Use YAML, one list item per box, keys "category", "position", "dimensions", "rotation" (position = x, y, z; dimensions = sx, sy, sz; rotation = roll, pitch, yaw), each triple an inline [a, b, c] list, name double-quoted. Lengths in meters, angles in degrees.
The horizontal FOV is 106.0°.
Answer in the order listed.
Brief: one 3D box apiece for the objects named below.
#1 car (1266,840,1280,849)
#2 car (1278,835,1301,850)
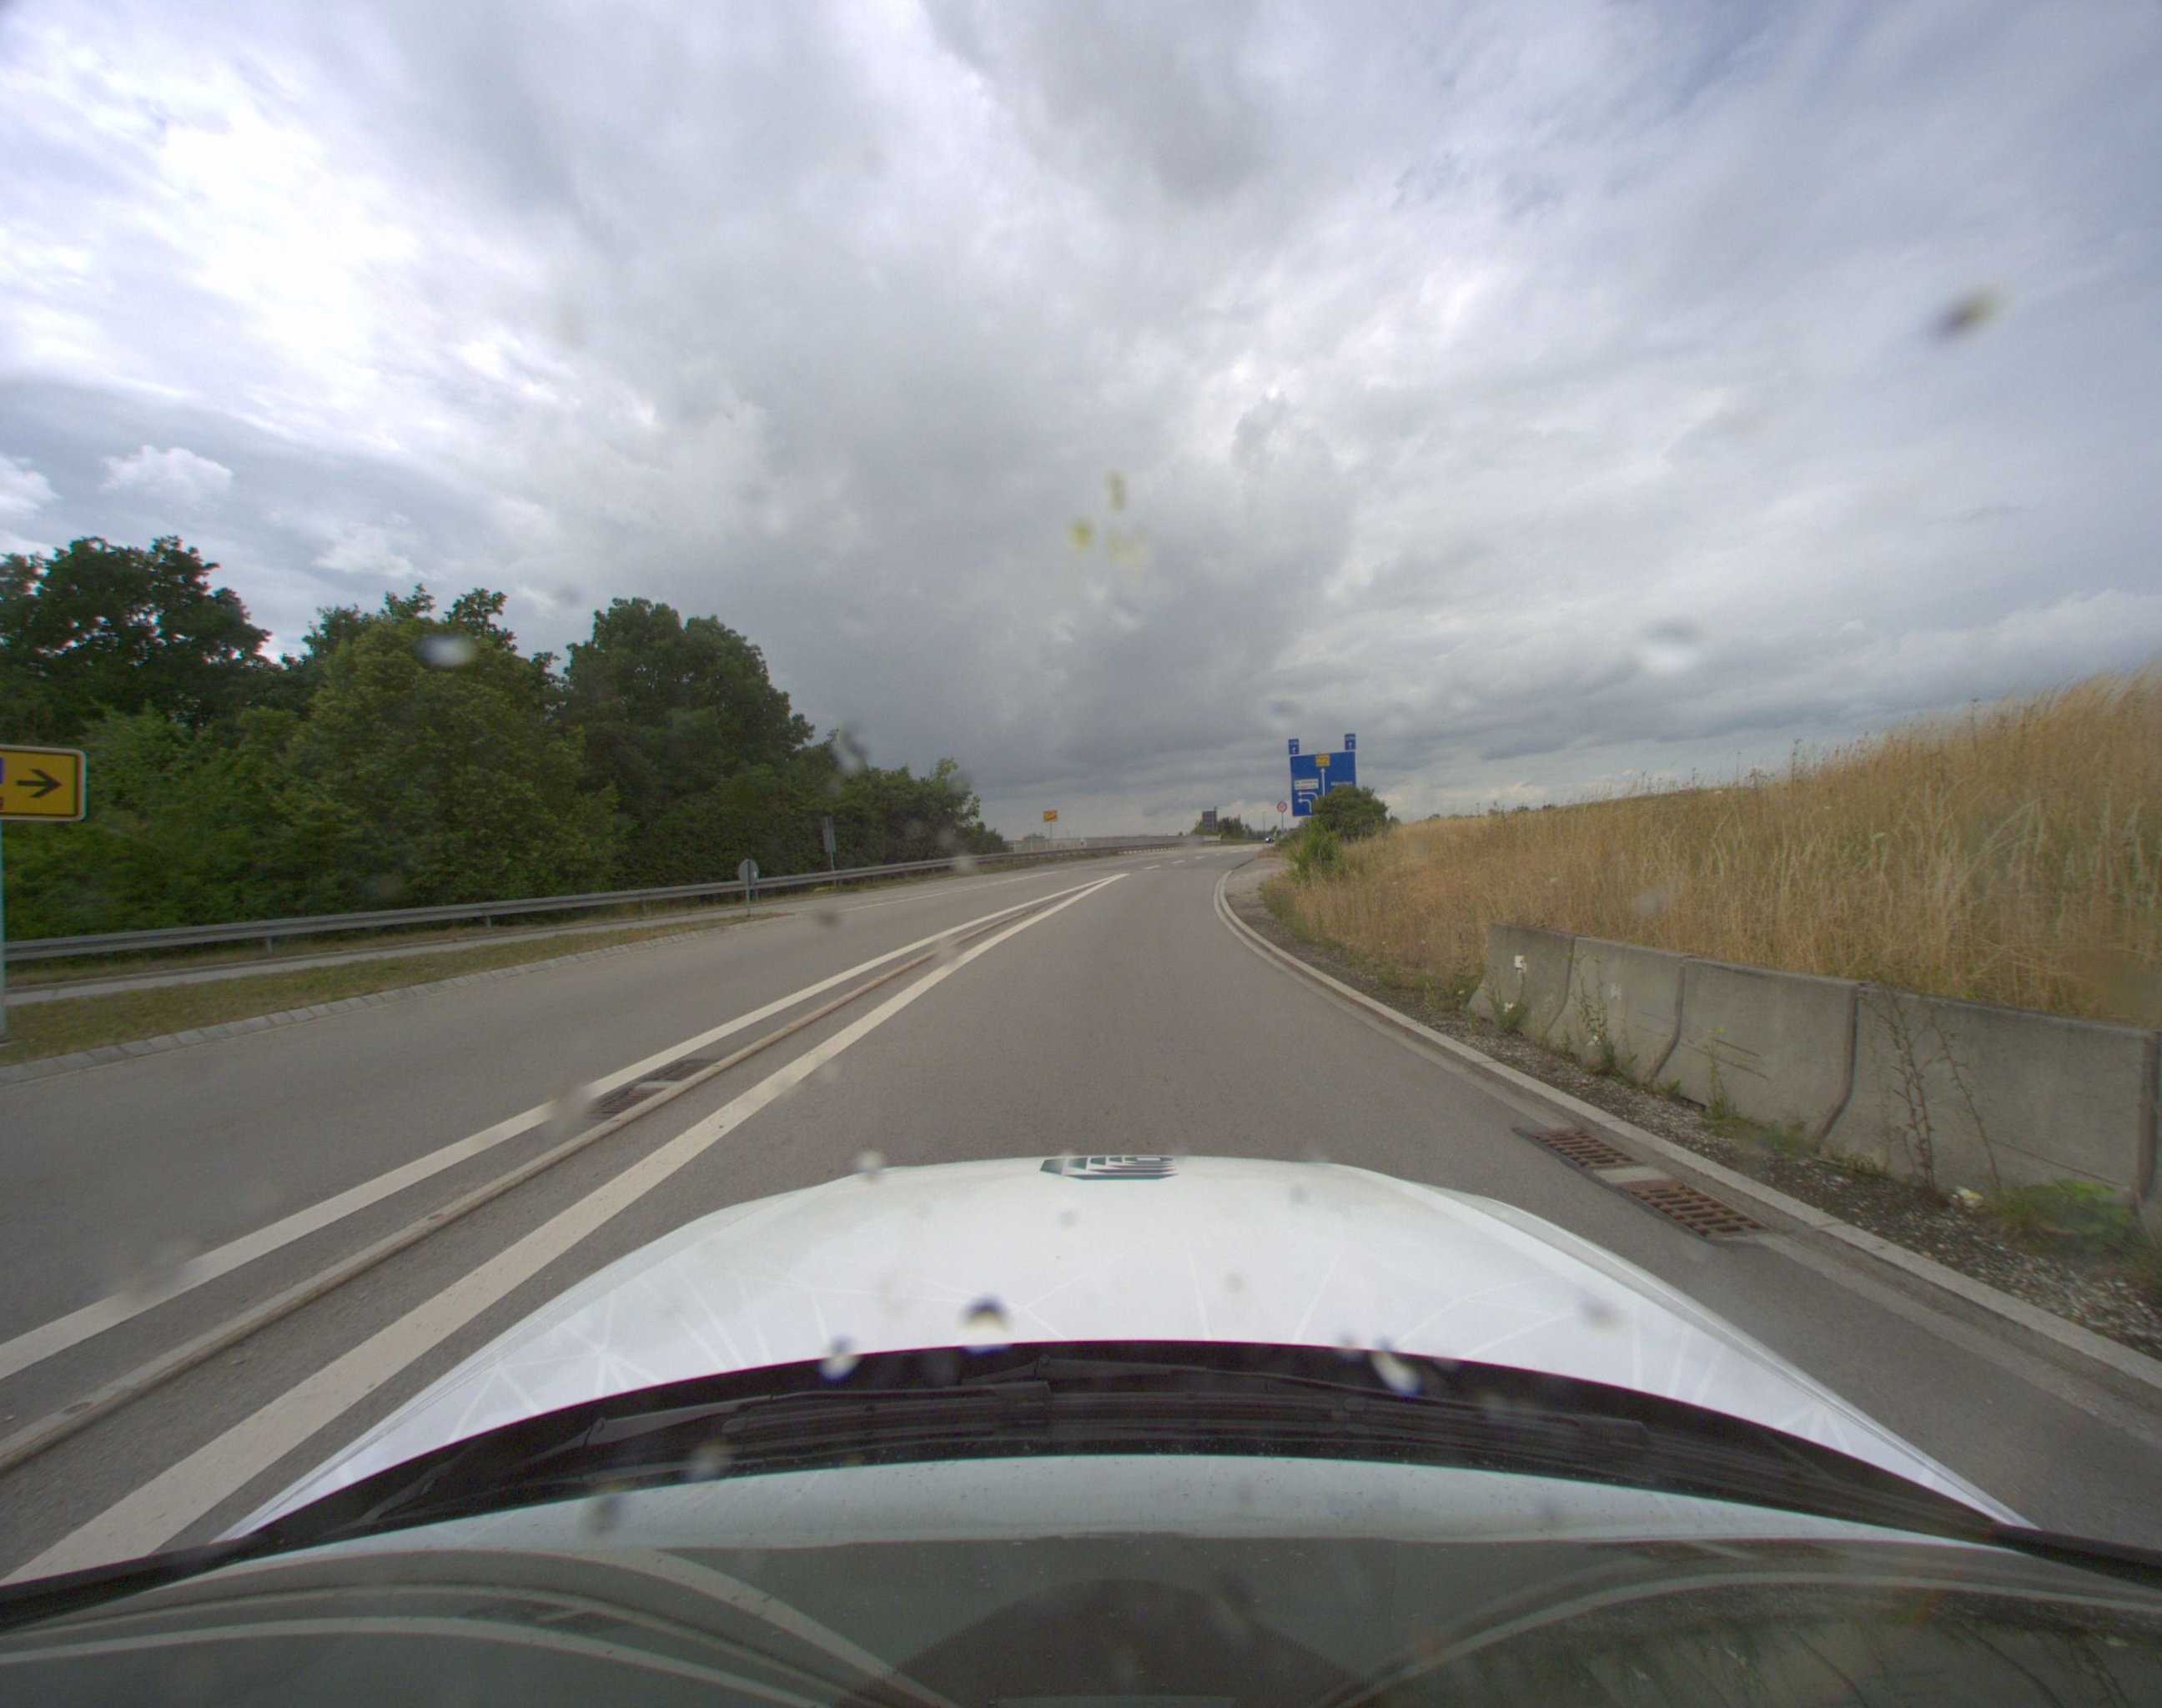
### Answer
- category: "car"
  position: [39.425, -2.039, 167.178]
  dimensions: [1.976, 1.731, 4.788]
  rotation: [3, 2, 23]
- category: "car"
  position: [21.393, -1.192, 83.544]
  dimensions: [1.504, 1.485, 3.637]
  rotation: [-2, 0, 26]
